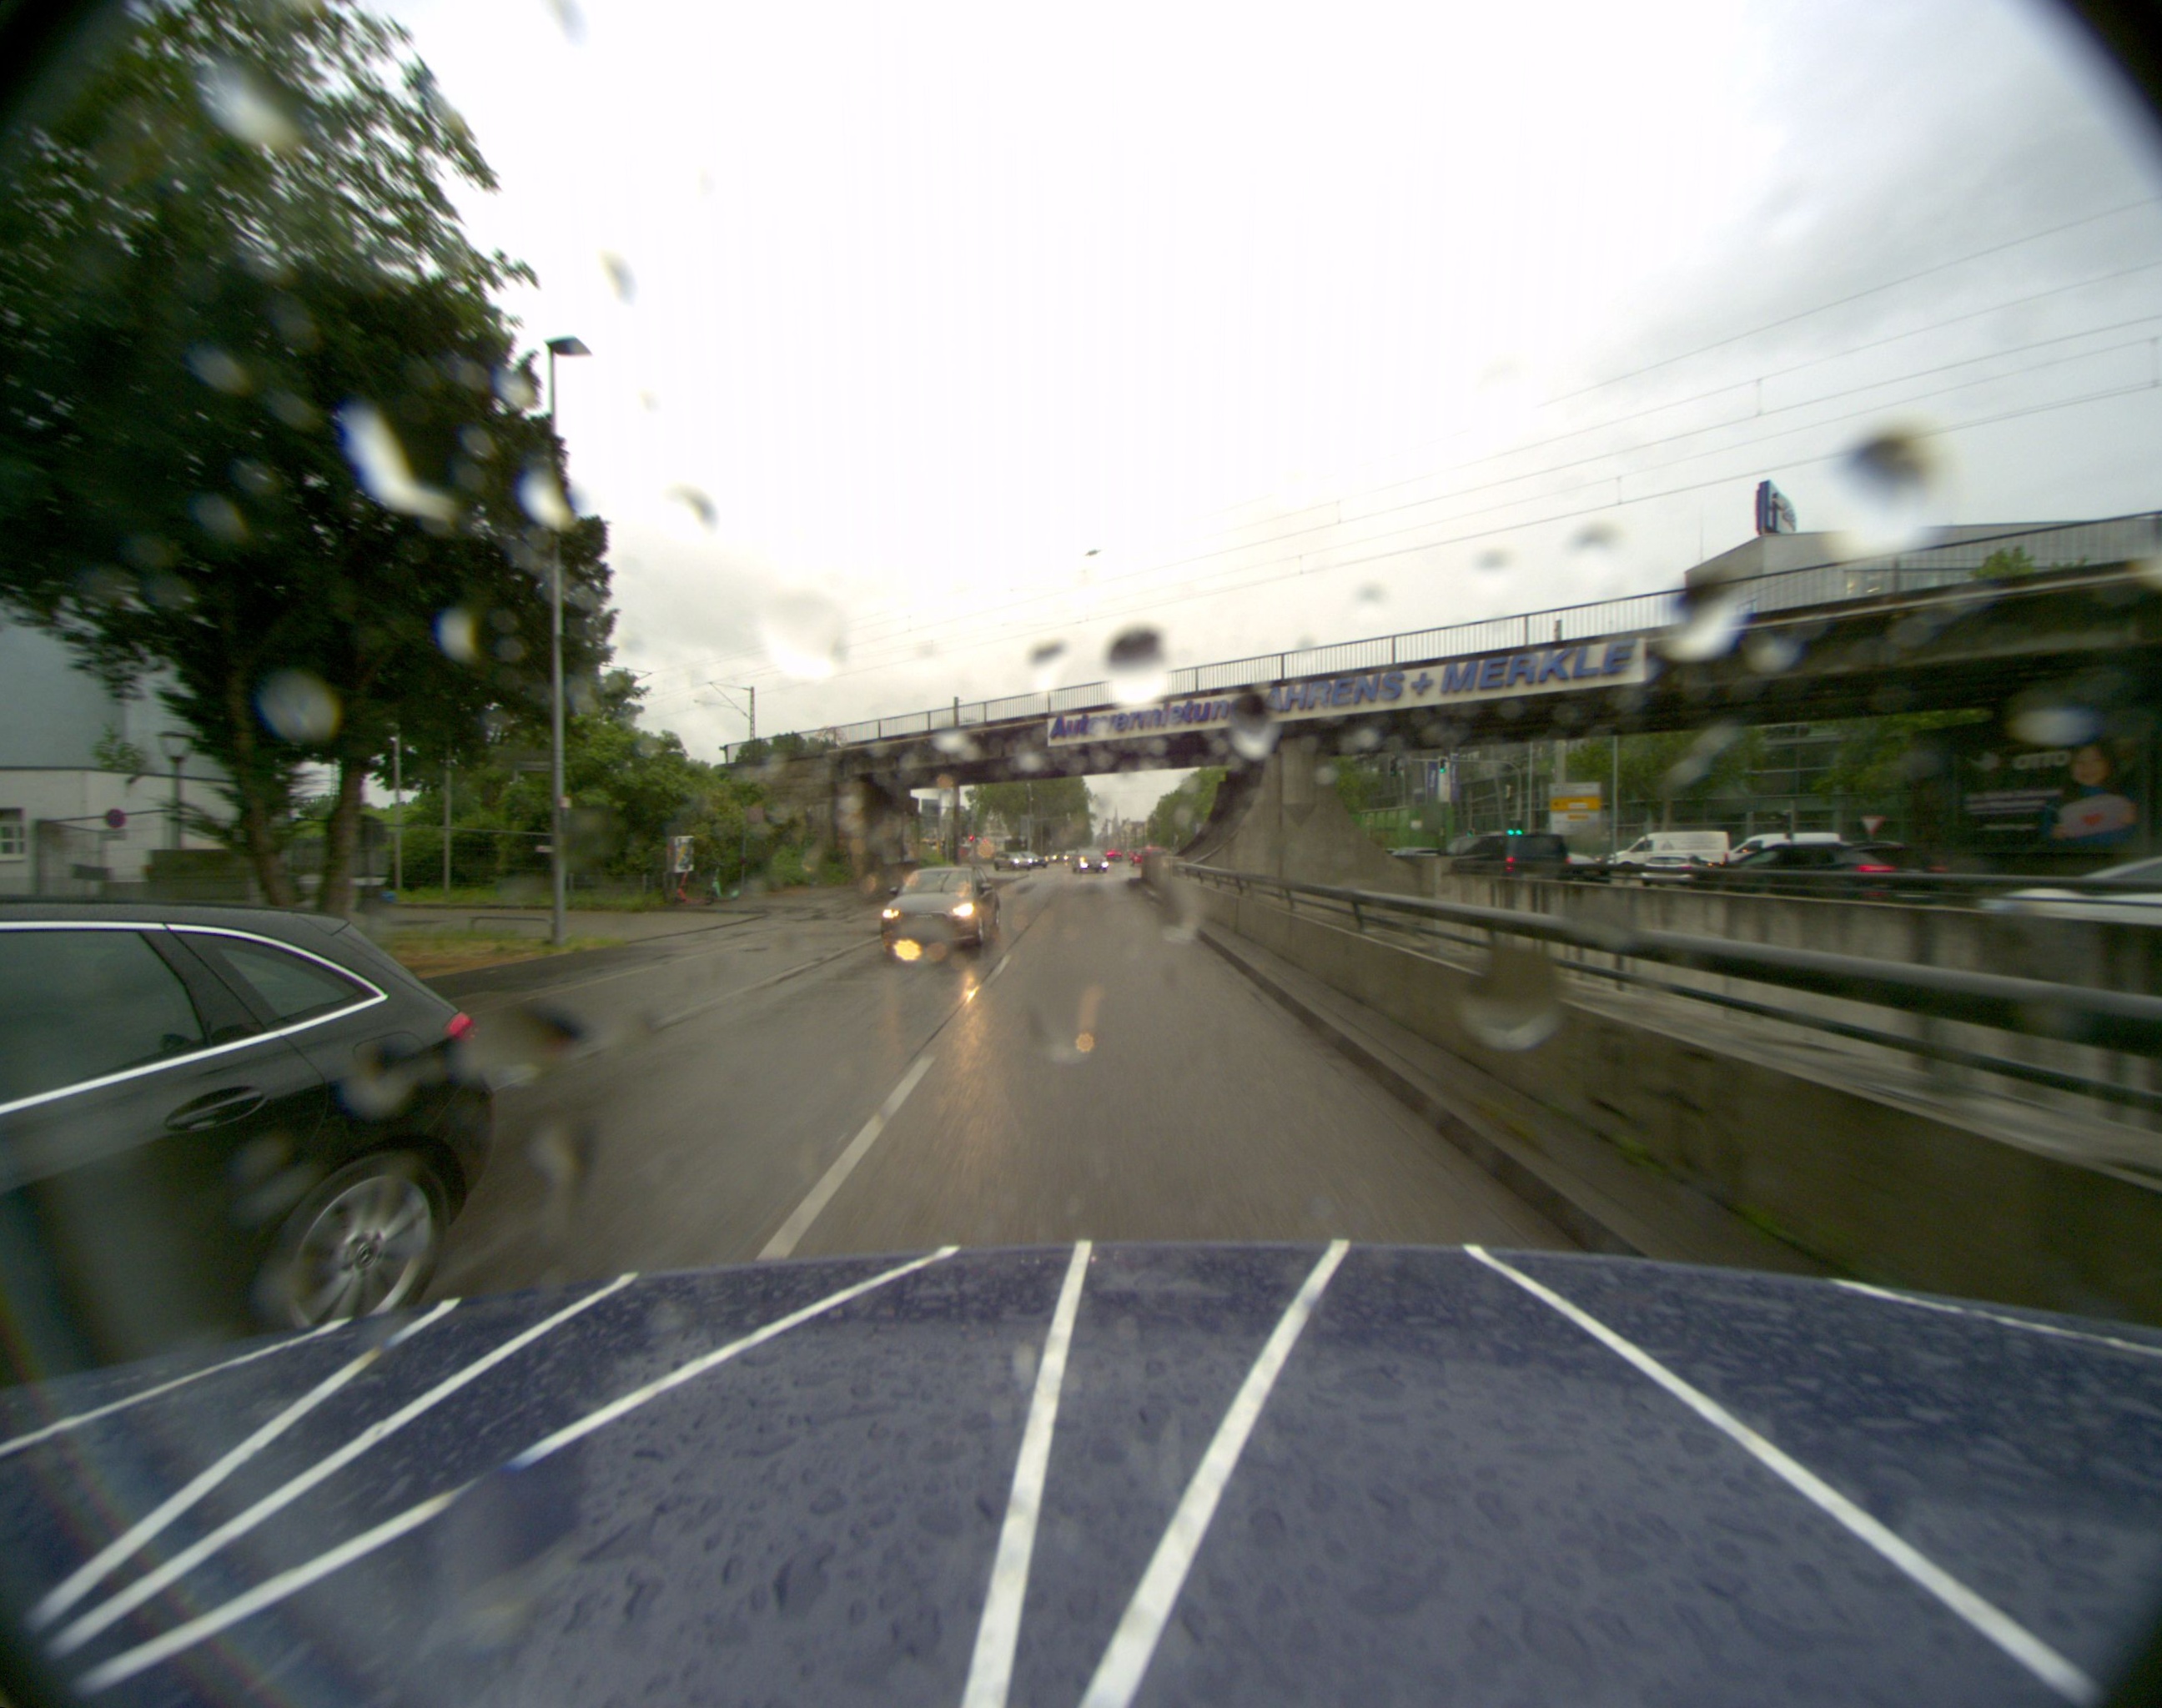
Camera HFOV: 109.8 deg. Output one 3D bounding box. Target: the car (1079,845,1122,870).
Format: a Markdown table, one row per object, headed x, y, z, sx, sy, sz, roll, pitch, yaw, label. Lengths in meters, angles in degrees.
| x | y | z | sx | sy | sz | roll | pitch | yaw | label |
| --- | --- | --- | --- | --- | --- | --- | --- | --- | --- |
| 1.290 | 0.186 | 52.664 | 2.030 | 1.647 | 4.055 | 0 | 1 | -14 | car |

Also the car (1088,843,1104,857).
| x | y | z | sx | sy | sz | roll | pitch | yaw | label |
| --- | --- | --- | --- | --- | --- | --- | --- | --- | --- |
| 1.937 | -0.552 | 102.077 | 2.076 | 1.838 | 4.745 | -1 | 1 | 0 | car |

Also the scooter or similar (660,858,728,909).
| x | y | z | sx | sy | sz | roll | pitch | yaw | label |
| --- | --- | --- | --- | --- | --- | --- | --- | --- | --- |
| -10.985 | 0.822 | 21.594 | 0.708 | 1.304 | 1.561 | 7 | 6 | 41 | scooter or similar |

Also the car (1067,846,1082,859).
| x | y | z | sx | sy | sz | roll | pitch | yaw | label |
| --- | --- | --- | --- | --- | --- | --- | --- | --- | --- |
| -0.833 | -0.167 | 100.352 | 1.932 | 1.641 | 4.341 | -1 | 1 | 0 | car |

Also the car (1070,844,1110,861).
| x | y | z | sx | sy | sz | roll | pitch | yaw | label |
| --- | --- | --- | --- | --- | --- | --- | --- | --- | --- |
| 0.812 | -0.146 | 69.607 | 1.663 | 1.537 | 3.989 | -1 | 1 | -33 | car |

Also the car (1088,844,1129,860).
| x | y | z | sx | sy | sz | roll | pitch | yaw | label |
| --- | --- | --- | --- | --- | --- | --- | --- | --- | --- |
| 2.675 | -0.204 | 75.923 | 1.749 | 1.477 | 4.673 | -1 | 1 | -32 | car |

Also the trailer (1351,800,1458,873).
| x | y | z | sx | sy | sz | roll | pitch | yaw | label |
| --- | --- | --- | --- | --- | --- | --- | --- | --- | --- |
| 19.158 | -0.998 | 45.722 | 2.687 | 3.964 | 8.518 | -1 | 1 | -1 | trailer |

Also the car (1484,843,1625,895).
| x | y | z | sx | sy | sz | roll | pitch | yaw | label |
| --- | --- | --- | --- | --- | --- | --- | --- | --- | --- |
| 15.842 | 0.429 | 25.749 | 1.984 | 1.565 | 4.550 | 0 | 1 | 1 | car |

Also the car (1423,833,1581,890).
| x | y | z | sx | sy | sz | roll | pitch | yaw | label |
| --- | --- | --- | --- | --- | --- | --- | --- | --- | --- |
| 12.865 | 0.153 | 23.732 | 1.984 | 1.565 | 5.539 | 0 | 1 | 1 | car |

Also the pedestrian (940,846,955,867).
| x | y | z | sx | sy | sz | roll | pitch | yaw | label |
| --- | --- | --- | --- | --- | --- | --- | --- | --- | --- |
| -11.161 | 0.180 | 63.587 | 0.817 | 1.709 | 1.007 | 0 | 1 | 28 | pedestrian |

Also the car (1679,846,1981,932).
| x | y | z | sx | sy | sz | roll | pitch | yaw | label |
| --- | --- | --- | --- | --- | --- | --- | --- | --- | --- |
| 15.679 | 0.622 | 16.382 | 1.984 | 1.565 | 4.609 | 0 | 1 | 1 | car |

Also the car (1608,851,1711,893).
| x | y | z | sx | sy | sz | roll | pitch | yaw | label |
| --- | --- | --- | --- | --- | --- | --- | --- | --- | --- |
| 24.051 | 0.673 | 31.799 | 1.982 | 1.565 | 4.522 | 0 | 1 | 17 | car |

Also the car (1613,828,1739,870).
| x | y | z | sx | sy | sz | roll | pitch | yaw | label |
| --- | --- | --- | --- | --- | --- | --- | --- | --- | --- |
| 36.233 | -0.291 | 46.453 | 5.944 | 2.420 | 1.974 | 0 | 1 | 37 | car |

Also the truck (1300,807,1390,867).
| x | y | z | sx | sy | sz | roll | pitch | yaw | label |
| --- | --- | --- | --- | --- | --- | --- | --- | --- | --- |
| 18.859 | -1.132 | 55.145 | 2.686 | 3.926 | 10.191 | 0 | 0 | -2 | truck |

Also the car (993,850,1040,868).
| x | y | z | sx | sy | sz | roll | pitch | yaw | label |
| --- | --- | --- | --- | --- | --- | --- | --- | --- | --- |
| -5.278 | 0.363 | 61.737 | 1.902 | 1.341 | 3.988 | -1 | 2 | -37 | car |

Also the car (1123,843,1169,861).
| x | y | z | sx | sy | sz | roll | pitch | yaw | label |
| --- | --- | --- | --- | --- | --- | --- | --- | --- | --- |
| 5.304 | -0.174 | 62.166 | 1.824 | 1.444 | 3.990 | -1 | 1 | -29 | car |

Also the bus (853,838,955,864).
| x | y | z | sx | sy | sz | roll | pitch | yaw | label |
| --- | --- | --- | --- | --- | --- | --- | --- | --- | --- |
| -22.565 | -0.408 | 97.171 | 12.273 | 3.250 | 3.276 | 0 | 1 | 7 | bus |

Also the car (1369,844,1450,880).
| x | y | z | sx | sy | sz | roll | pitch | yaw | label |
| --- | --- | --- | --- | --- | --- | --- | --- | --- | --- |
| 15.631 | 0.322 | 36.476 | 1.984 | 1.565 | 4.550 | 0 | 1 | 1 | car |

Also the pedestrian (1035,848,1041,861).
| x | y | z | sx | sy | sz | roll | pitch | yaw | label |
| --- | --- | --- | --- | --- | --- | --- | --- | --- | --- |
| -5.600 | 0.032 | 98.047 | 0.644 | 1.642 | 0.626 | 0 | 0 | 9 | pedestrian |

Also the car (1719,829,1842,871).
| x | y | z | sx | sy | sz | roll | pitch | yaw | label |
| --- | --- | --- | --- | --- | --- | --- | --- | --- | --- |
| 42.045 | -0.245 | 45.874 | 5.246 | 2.420 | 1.974 | 0 | 1 | 37 | car |

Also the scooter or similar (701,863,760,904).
| x | y | z | sx | sy | sz | roll | pitch | yaw | label |
| --- | --- | --- | --- | --- | --- | --- | --- | --- | --- |
| -10.730 | 0.886 | 23.300 | 0.771 | 1.172 | 1.549 | 2 | 1 | 19 | scooter or similar |

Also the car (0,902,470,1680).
| x | y | z | sx | sy | sz | roll | pitch | yaw | label |
| --- | --- | --- | --- | --- | --- | --- | --- | --- | --- |
| -3.159 | 0.966 | 0.723 | 1.875 | 1.515 | 4.086 | 0 | 1 | -1 | car |

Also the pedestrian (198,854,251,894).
| x | y | z | sx | sy | sz | roll | pitch | yaw | label |
| --- | --- | --- | --- | --- | --- | --- | --- | --- | --- |
| -27.778 | 0.636 | 24.653 | 0.860 | 1.287 | 0.705 | 0 | 1 | -9 | pedestrian |

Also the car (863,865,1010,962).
| x | y | z | sx | sy | sz | roll | pitch | yaw | label |
| --- | --- | --- | --- | --- | --- | --- | --- | --- | --- |
| -2.508 | 0.996 | 14.165 | 1.840 | 1.390 | 3.753 | -2 | 1 | 2 | car |

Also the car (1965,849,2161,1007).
| x | y | z | sx | sy | sz | roll | pitch | yaw | label |
| --- | --- | --- | --- | --- | --- | --- | --- | --- | --- |
| 12.310 | 0.787 | 7.702 | 1.998 | 1.623 | 4.088 | 0 | 1 | 2 | car |
